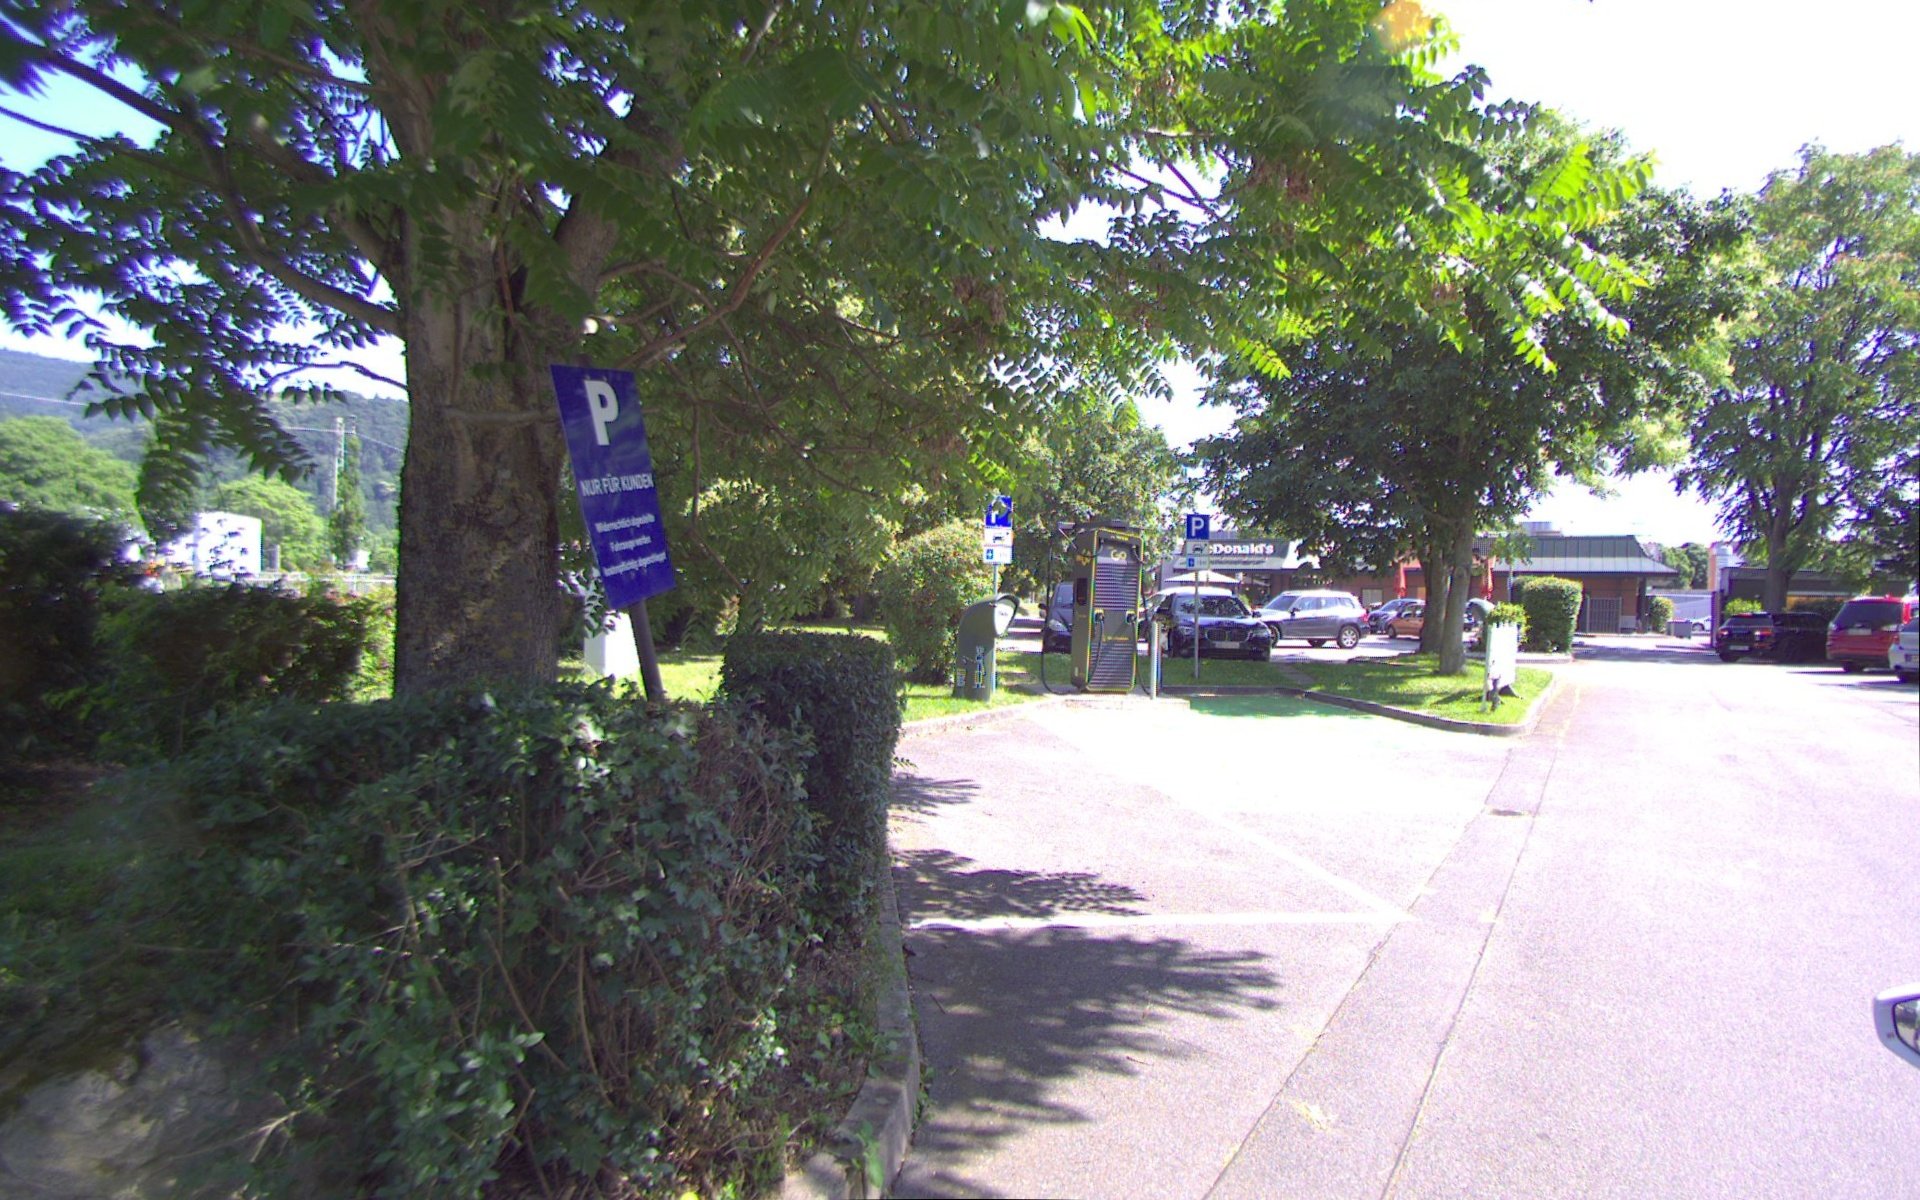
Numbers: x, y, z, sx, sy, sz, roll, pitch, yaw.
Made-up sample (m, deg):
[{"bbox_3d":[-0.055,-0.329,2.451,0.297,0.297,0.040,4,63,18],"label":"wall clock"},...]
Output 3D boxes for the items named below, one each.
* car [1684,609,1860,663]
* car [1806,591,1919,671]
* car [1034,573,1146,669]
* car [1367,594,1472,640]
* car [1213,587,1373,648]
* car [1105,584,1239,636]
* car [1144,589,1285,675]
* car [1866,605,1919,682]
[{"bbox_3d":[22.674,0.995,28.081,3.931,1.407,1.770,1,0,-13],"label":"car"},{"bbox_3d":[22.172,0.724,23.397,3.931,1.757,1.770,0,-1,-13],"label":"car"},{"bbox_3d":[2.614,0.367,21.144,1.825,1.708,4.368,3,1,2],"label":"car"},{"bbox_3d":[18.852,0.666,41.423,1.829,1.708,4.359,-1,1,-10],"label":"car"},{"bbox_3d":[10.193,0.527,30.823,4.292,1.708,1.857,2,1,-14],"label":"car"},{"bbox_3d":[7.497,0.341,35.623,4.237,1.708,1.858,2,1,-12],"label":"car"},{"bbox_3d":[5.053,0.558,20.572,1.825,1.472,4.368,3,1,2],"label":"car"},{"bbox_3d":[20.670,0.872,20.197,3.932,1.495,1.769,0,0,-15],"label":"car"}]
